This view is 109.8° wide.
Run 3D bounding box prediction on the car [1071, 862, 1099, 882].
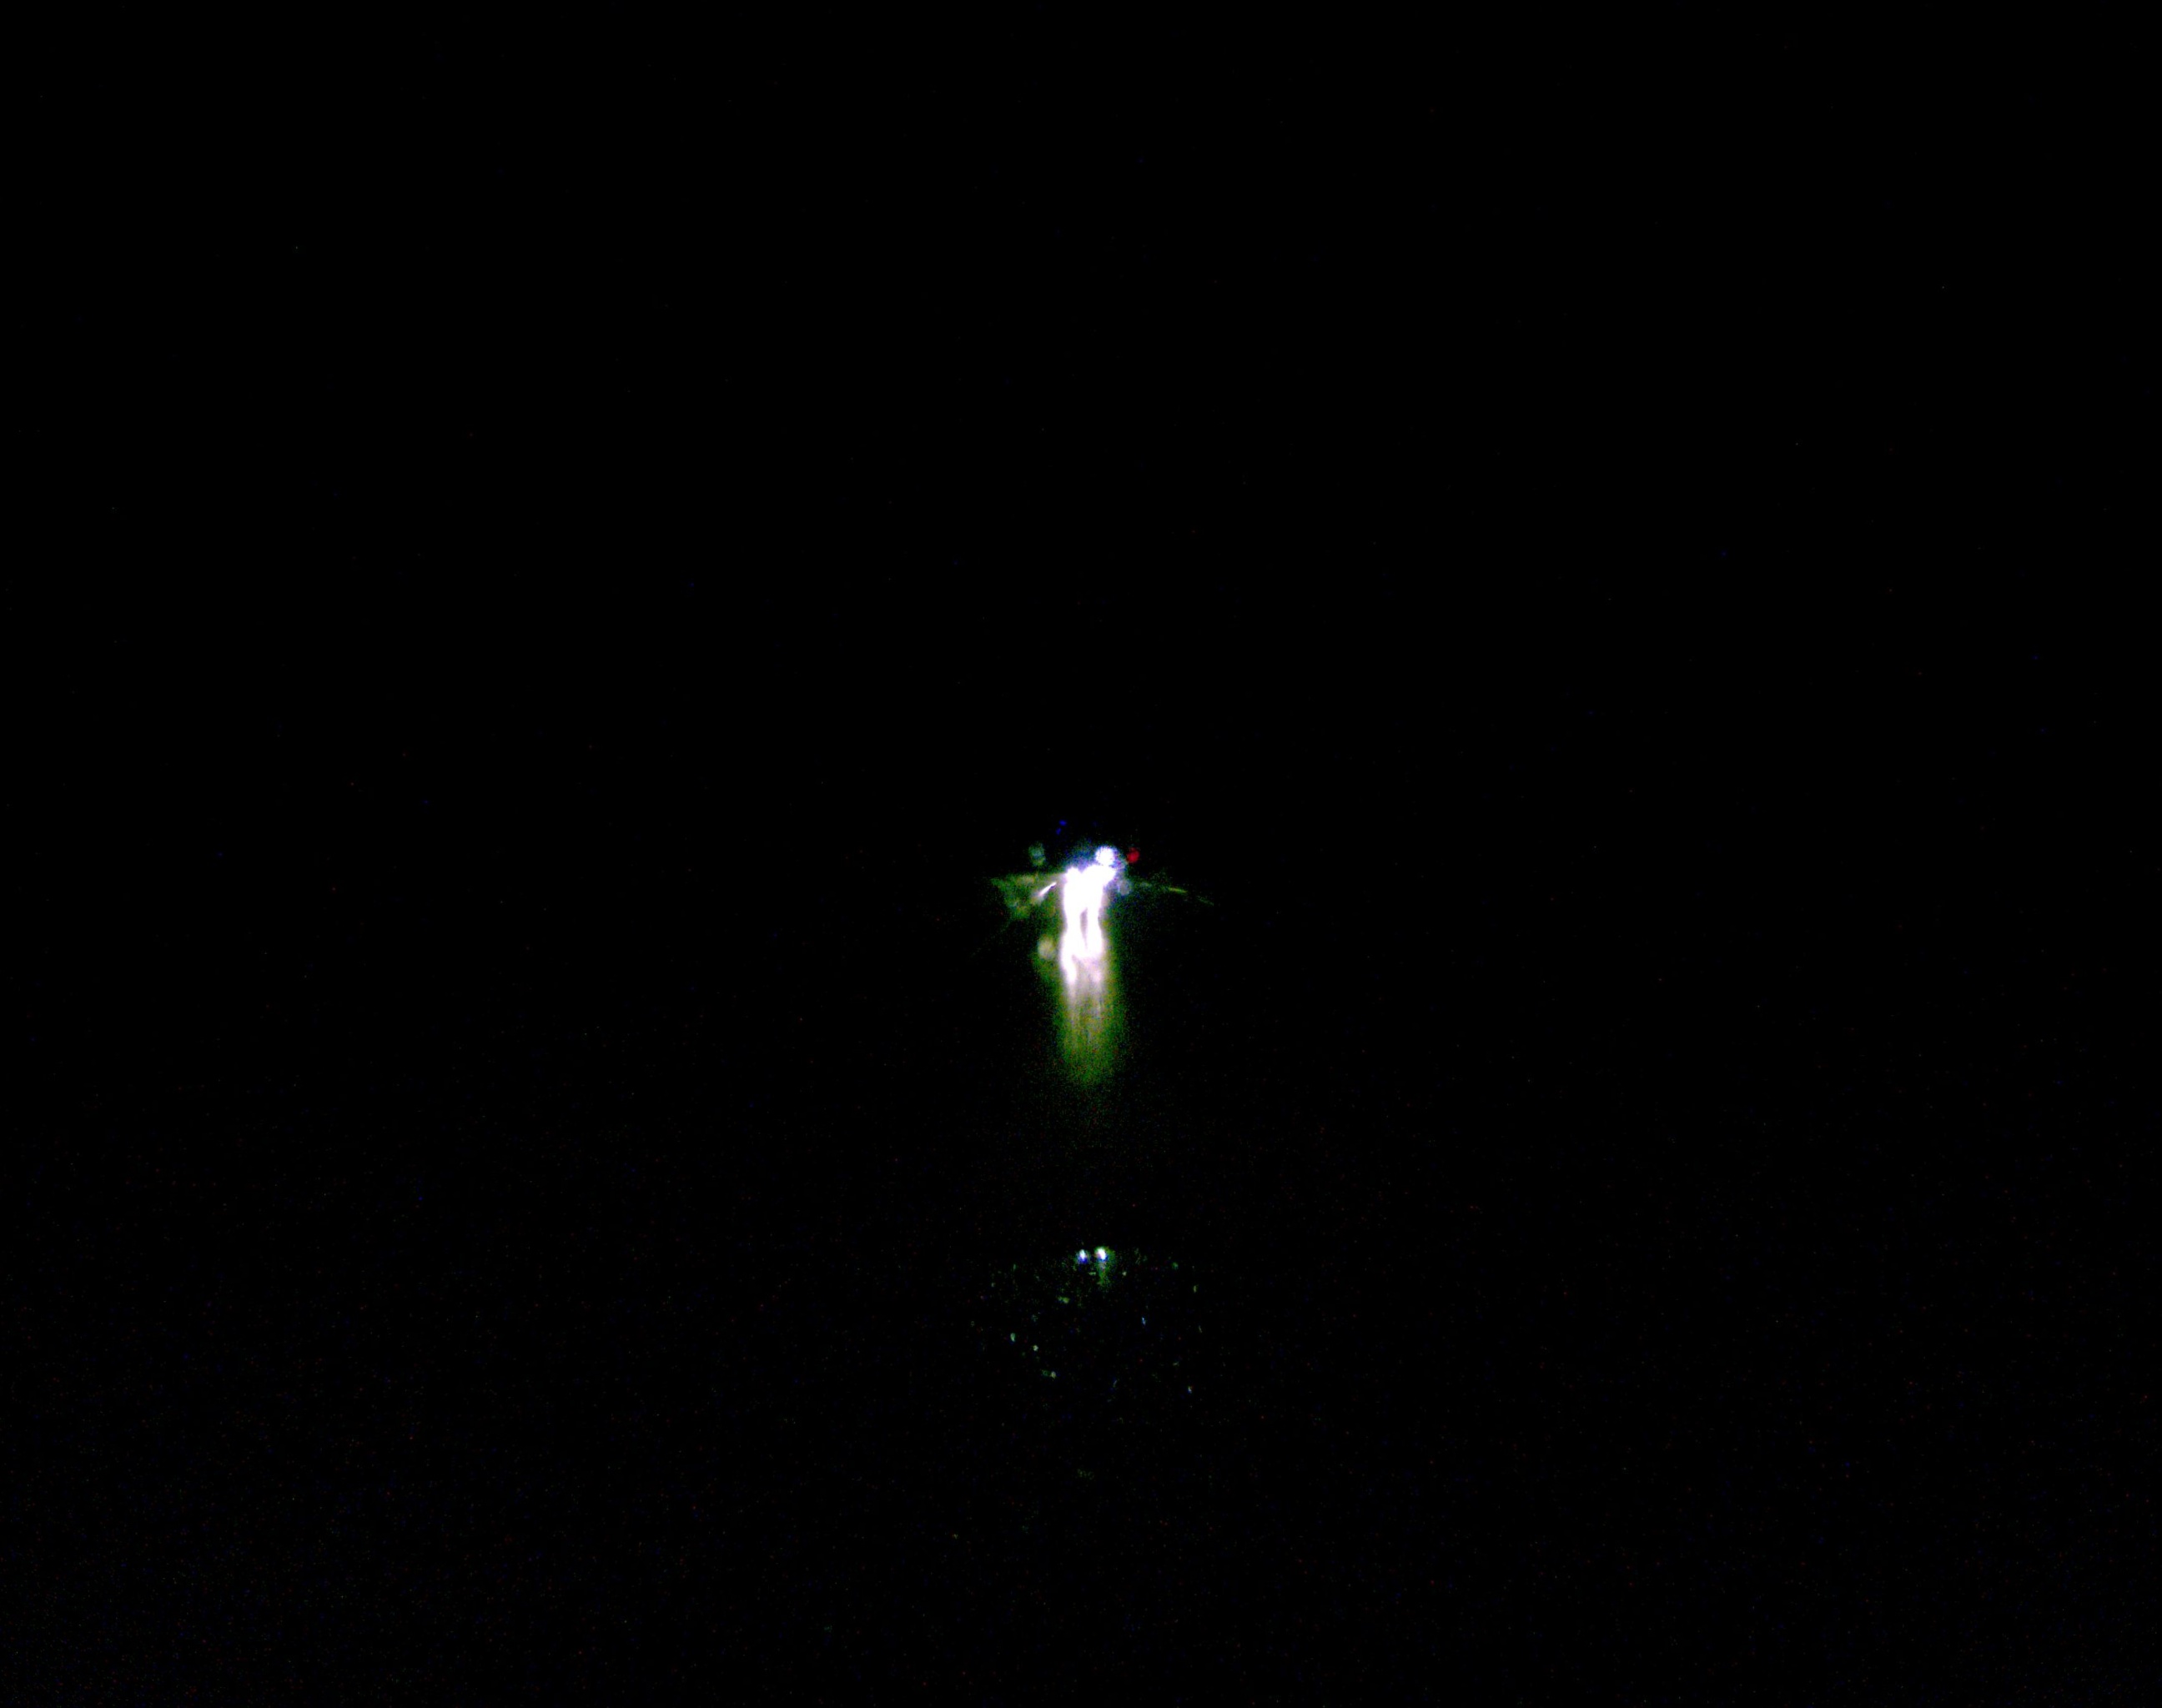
[{"bbox_3d":[0.370,1.475,61.932,1.998,1.412,4.000,-2,1,3],"label":"car"}]
